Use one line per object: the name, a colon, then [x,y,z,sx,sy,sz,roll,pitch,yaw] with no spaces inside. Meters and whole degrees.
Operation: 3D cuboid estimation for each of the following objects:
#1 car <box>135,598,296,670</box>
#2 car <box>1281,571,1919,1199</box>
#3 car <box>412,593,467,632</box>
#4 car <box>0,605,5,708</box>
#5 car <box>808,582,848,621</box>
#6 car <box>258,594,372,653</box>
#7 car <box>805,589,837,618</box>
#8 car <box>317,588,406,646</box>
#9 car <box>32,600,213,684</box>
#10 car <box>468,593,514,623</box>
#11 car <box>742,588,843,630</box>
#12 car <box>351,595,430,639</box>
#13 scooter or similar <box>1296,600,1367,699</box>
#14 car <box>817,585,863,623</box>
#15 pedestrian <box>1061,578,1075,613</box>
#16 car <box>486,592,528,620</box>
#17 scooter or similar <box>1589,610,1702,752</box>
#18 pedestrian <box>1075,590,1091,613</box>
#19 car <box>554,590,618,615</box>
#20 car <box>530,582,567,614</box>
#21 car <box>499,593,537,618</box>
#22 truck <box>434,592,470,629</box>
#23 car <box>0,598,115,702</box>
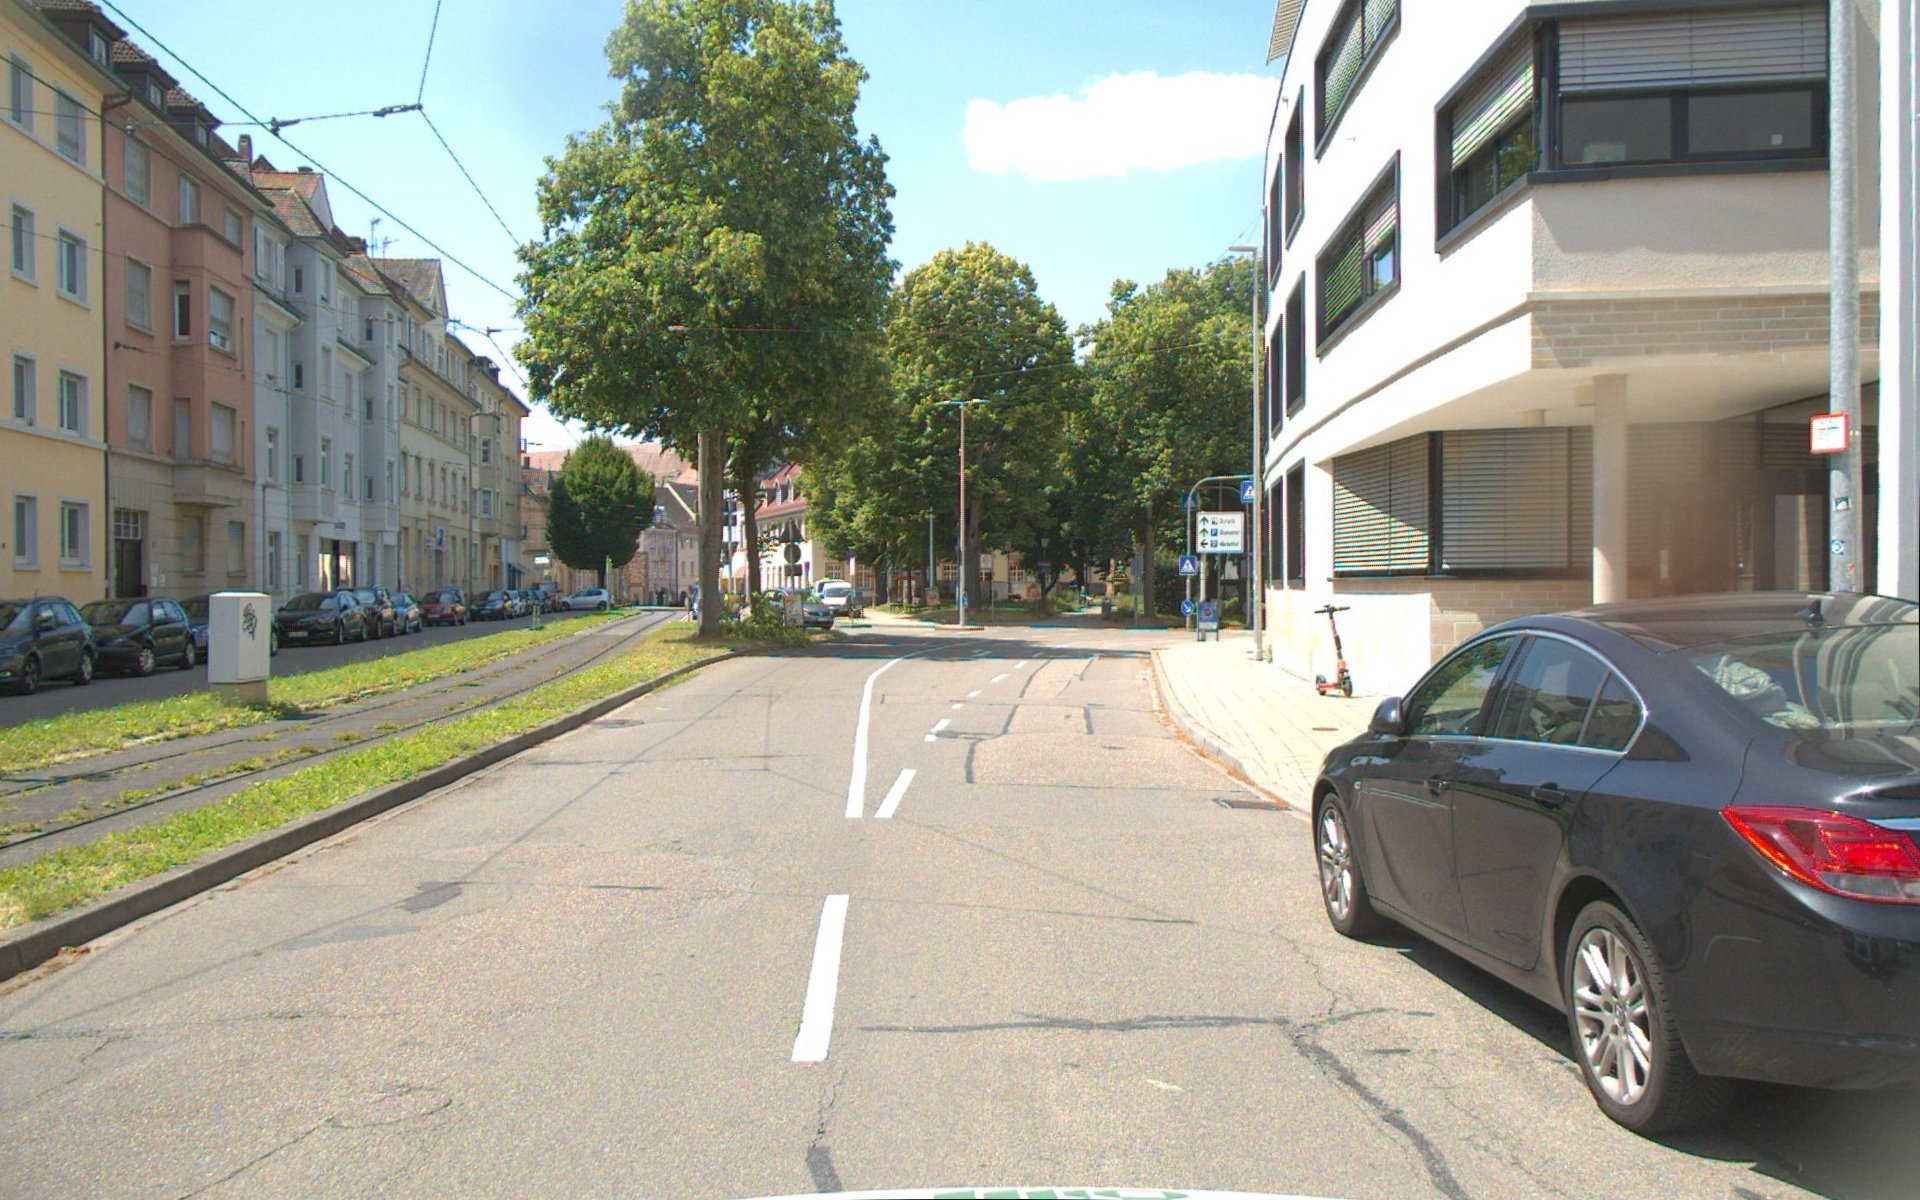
car: [-16.604,0.714,37.151,1.891,1.422,4.856,-2,1,-7]
car: [2.696,0.715,6.007,1.765,1.535,4.543,-3,0,-5]
car: [-21.145,0.478,67.301,1.542,1.476,3.619,-2,1,-8]
car: [-14.331,0.859,21.471,1.893,1.476,4.366,-2,1,-10]
car: [-7.282,0.061,90.966,2.010,2.037,5.241,1,0,-7]
car: [-18.145,0.620,46.733,1.892,1.516,4.854,-2,1,-8]
car: [-8.284,0.190,98.301,1.749,1.652,4.479,1,0,-7]
car: [-18.891,0.503,52.402,1.802,1.715,4.135,-2,1,-8]
car: [-15.905,0.755,31.632,1.796,1.424,4.135,-1,1,-8]
car: [-23.327,0.390,82.408,1.655,1.384,3.850,-2,1,-8]
car: [-6.565,0.337,64.450,1.891,1.560,4.183,1,0,-40]
car: [-19.556,0.554,56.989,1.773,1.380,4.242,-2,1,-8]
scooter or similar: [5.049,0.657,22.534,0.570,1.282,1.367,-2,0,-3]
car: [-6.009,0.182,82.500,1.956,1.858,4.414,1,0,-8]
pedestrian: [6.177,-0.260,94.191,0.732,1.944,0.685,1,1,7]
car: [-24.060,0.309,87.923,1.655,1.414,3.850,-2,1,-8]
scooter or similar: [6.295,0.716,15.239,0.414,1.232,1.313,0,0,-5]
pedestrian: [6.987,0.089,93.914,0.886,1.273,1.149,1,2,7]
car: [-25.459,0.147,112.682,4.129,1.531,1.998,-2,1,-13]
car: [-26.510,-0.152,106.663,1.818,1.944,4.762,-1,1,-8]
car: [-24.747,0.302,92.734,1.655,1.300,3.282,-2,1,-8]
truck: [-21.965,0.430,71.587,1.105,1.520,2.589,-1,1,-9]
car: [-15.470,0.765,26.852,1.893,1.531,4.316,-1,1,-10]
